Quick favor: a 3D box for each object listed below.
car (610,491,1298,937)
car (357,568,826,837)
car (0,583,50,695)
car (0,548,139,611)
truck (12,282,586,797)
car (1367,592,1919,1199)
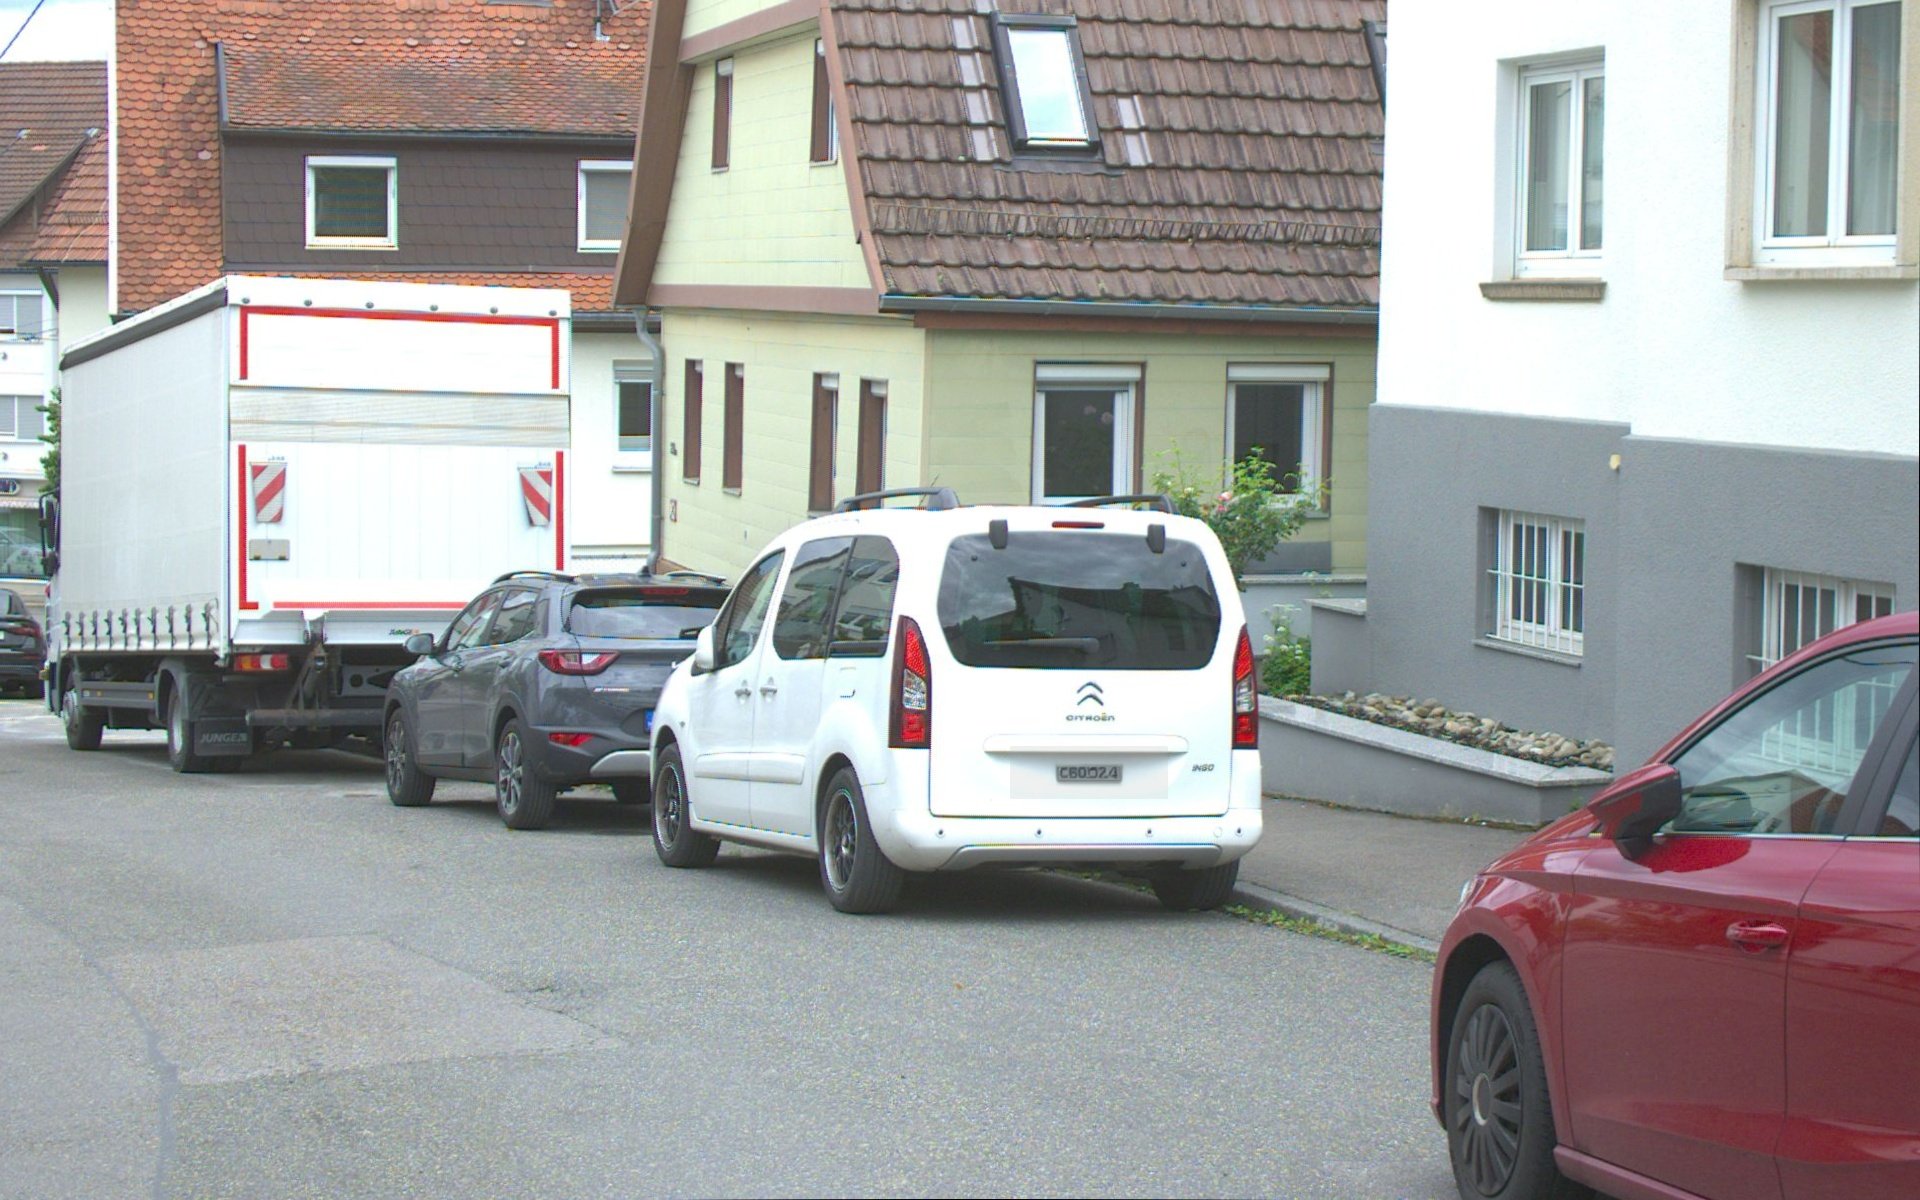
[{"bbox_3d":[-0.198,0.455,16.283,1.834,1.808,4.305,1,0,-21],"label":"car"},{"bbox_3d":[-2.394,0.591,21.369,1.732,1.501,4.052,1,-1,-24],"label":"car"},{"bbox_3d":[-13.054,0.472,44.957,1.673,1.404,4.052,1,0,-23],"label":"car"},{"bbox_3d":[-23.872,-0.557,91.372,3.687,1.551,1.695,1,2,23],"label":"car"},{"bbox_3d":[-5.674,-0.458,28.176,2.675,3.585,8.107,0,1,-25],"label":"truck"},{"bbox_3d":[2.222,0.730,6.431,1.678,1.447,3.853,1,0,-13],"label":"car"}]
